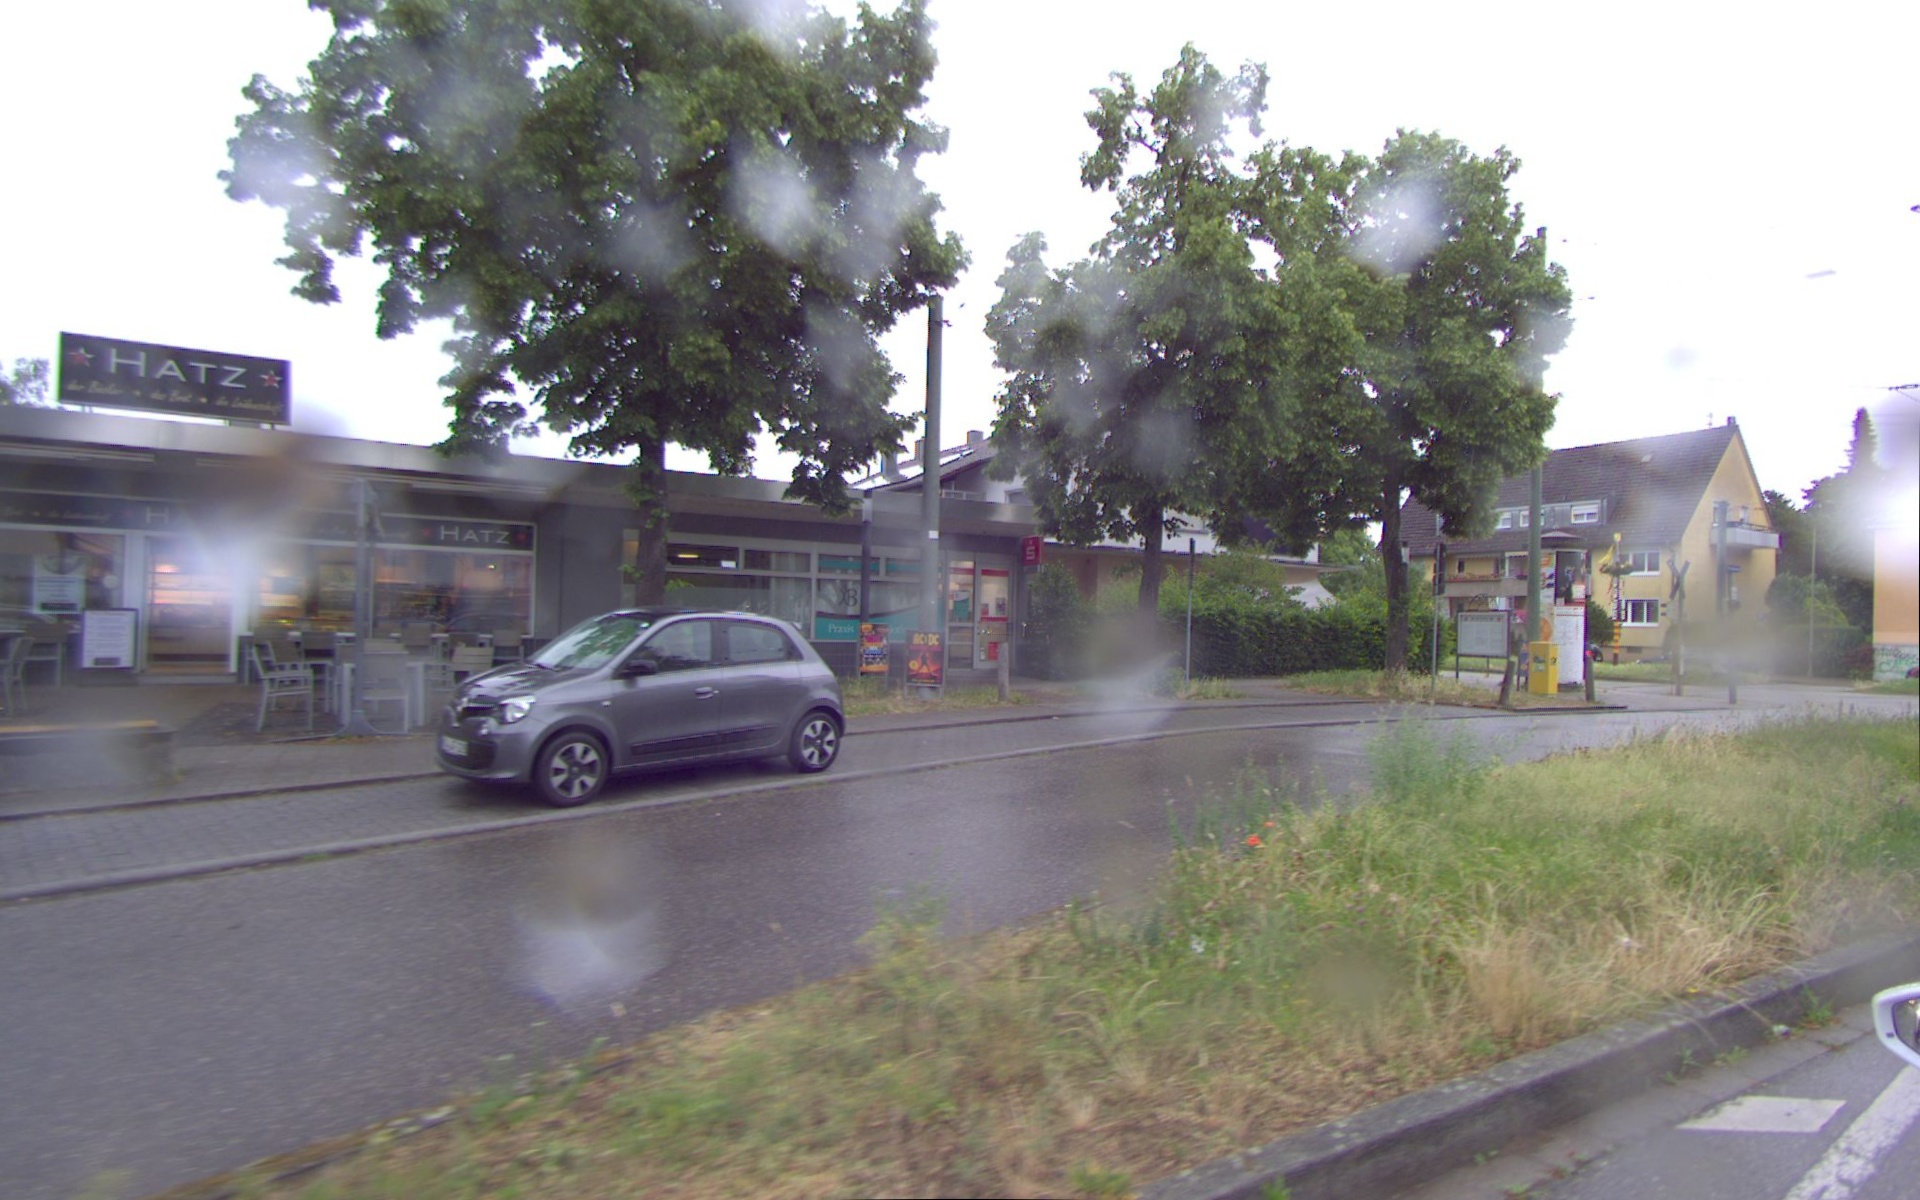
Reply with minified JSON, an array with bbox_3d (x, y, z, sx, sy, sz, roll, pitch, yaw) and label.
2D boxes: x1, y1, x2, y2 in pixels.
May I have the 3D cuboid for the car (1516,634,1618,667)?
[{"bbox_3d":[30.260,2.483,50.182,1.742,1.350,3.961,2,1,-34],"label":"car"}]

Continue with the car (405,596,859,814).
[{"bbox_3d":[-2.791,0.799,9.097,1.529,1.523,3.603,3,1,42],"label":"car"}]

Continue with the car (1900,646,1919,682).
[{"bbox_3d":[38.757,2.565,38.562,1.705,1.357,3.582,2,1,-34],"label":"car"}]

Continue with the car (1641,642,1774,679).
[{"bbox_3d":[33.814,2.719,45.549,1.946,1.414,4.464,2,-1,-33],"label":"car"}]
